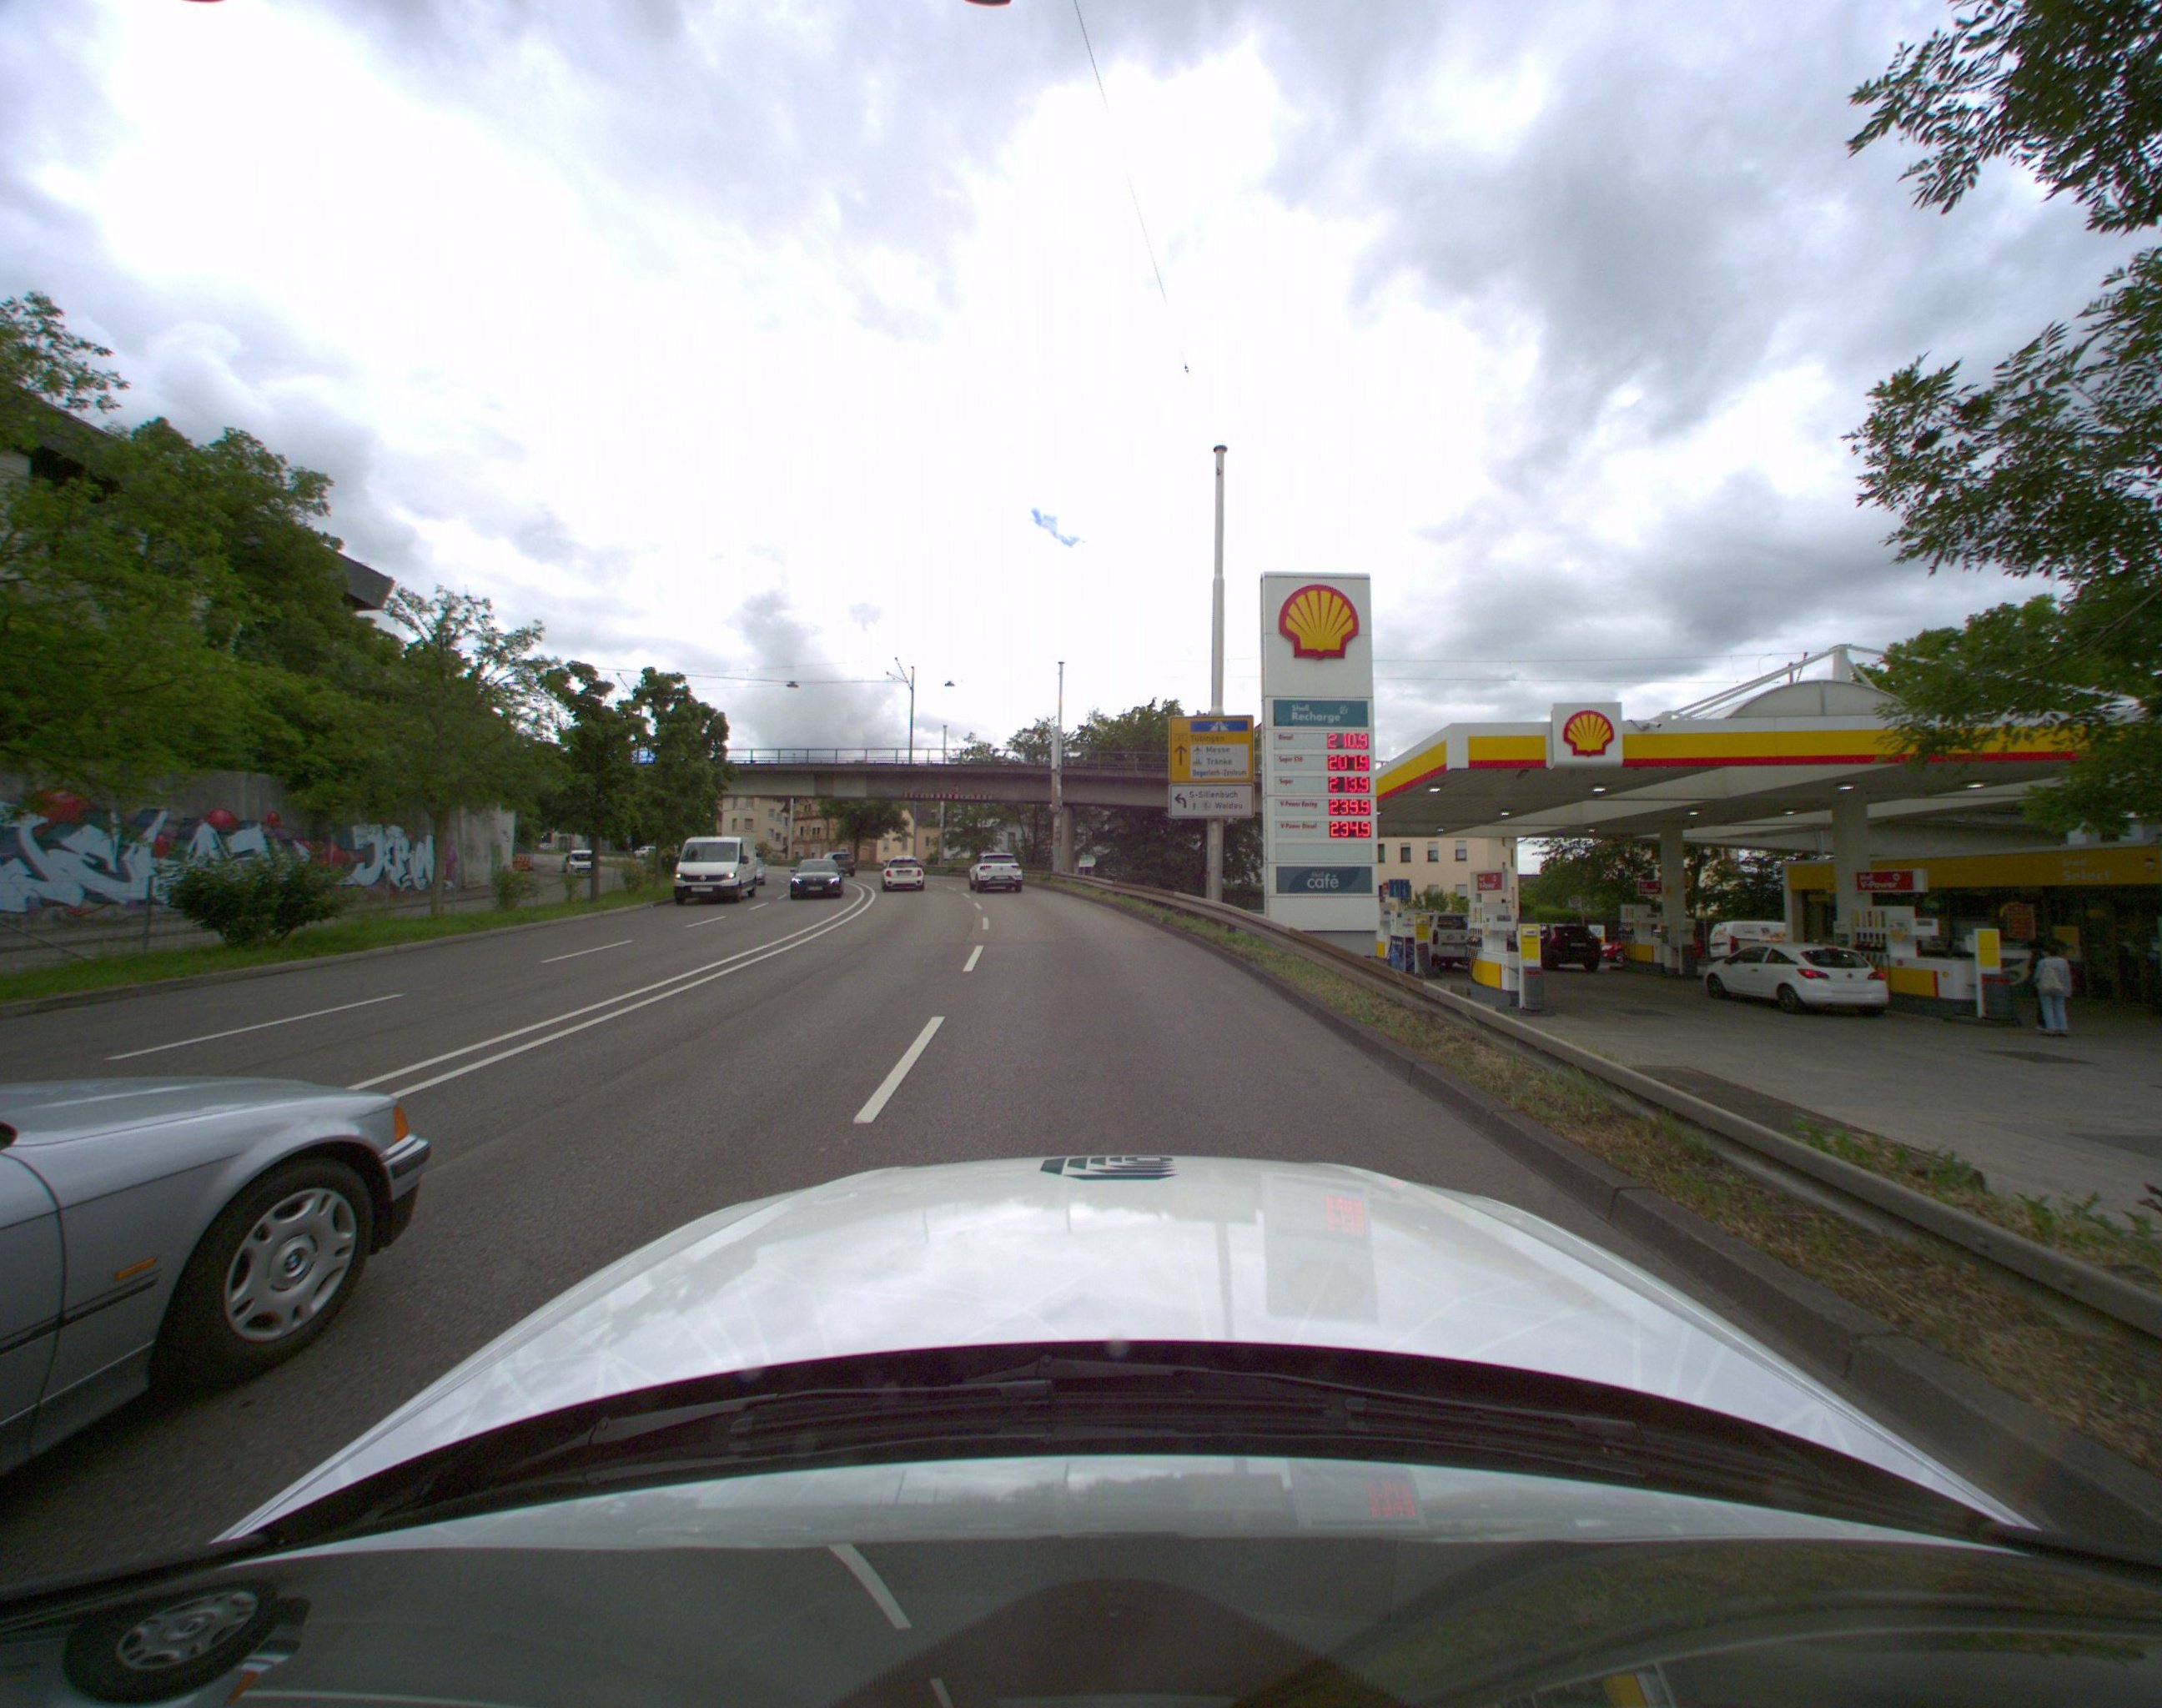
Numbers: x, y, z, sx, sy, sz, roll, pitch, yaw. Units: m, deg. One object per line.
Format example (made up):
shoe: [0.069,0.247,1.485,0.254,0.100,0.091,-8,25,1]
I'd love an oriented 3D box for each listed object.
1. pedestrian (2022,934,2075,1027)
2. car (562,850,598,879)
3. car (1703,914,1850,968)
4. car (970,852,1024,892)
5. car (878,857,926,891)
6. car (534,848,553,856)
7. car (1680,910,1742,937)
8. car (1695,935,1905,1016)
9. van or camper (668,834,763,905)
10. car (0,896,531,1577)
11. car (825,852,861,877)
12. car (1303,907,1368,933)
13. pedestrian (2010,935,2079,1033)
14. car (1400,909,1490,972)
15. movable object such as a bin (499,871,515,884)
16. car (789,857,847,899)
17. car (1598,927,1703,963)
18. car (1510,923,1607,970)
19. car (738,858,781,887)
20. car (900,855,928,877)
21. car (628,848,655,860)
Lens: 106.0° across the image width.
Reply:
pedestrian: [18.397,2.396,15.486,0.490,1.704,0.431,0,-1,-2]
car: [-33.805,0.667,54.892,1.779,1.785,4.417,-2,1,-35]
car: [26.356,3.279,30.990,3.839,1.939,1.746,-1,-4,12]
car: [-3.423,0.696,32.828,1.798,1.519,3.442,1,0,-12]
car: [-7.765,0.834,35.151,1.727,1.376,3.436,1,0,-17]
car: [-89.463,-0.323,135.605,3.412,1.376,1.739,1,0,41]
car: [38.112,4.192,49.277,3.594,1.349,1.588,6,-3,-28]
car: [16.080,2.657,18.521,1.725,1.486,3.886,-1,-3,9]
van or camper: [-13.010,0.483,29.400,2.011,2.261,5.935,-1,0,-13]
car: [-3.181,0.885,1.138,1.629,1.383,4.620,1,0,1]
car: [-16.220,0.672,55.437,1.732,1.640,3.426,1,0,-27]
car: [17.038,4.427,54.603,3.722,1.395,1.661,2,-2,37]
pedestrian: [17.683,2.368,14.955,0.540,1.704,0.610,0,-1,1]
car: [12.827,2.986,29.016,1.725,2.011,4.723,-1,-3,9]
movable object such as a bin: [-30.329,1.236,43.017,0.562,0.640,0.574,6,-2,-44]
car: [-9.912,0.855,30.952,1.738,1.414,4.408,-1,0,-14]
car: [25.400,4.028,36.462,3.583,1.458,1.667,-2,-4,25]
car: [17.215,3.292,29.566,1.725,1.486,3.886,-1,-3,9]
car: [-16.939,0.941,43.000,1.706,1.408,3.788,-1,0,-16]
car: [-11.641,0.816,56.663,1.678,1.409,3.439,1,0,-15]
car: [-52.487,0.025,97.300,3.412,1.376,1.739,1,0,41]
